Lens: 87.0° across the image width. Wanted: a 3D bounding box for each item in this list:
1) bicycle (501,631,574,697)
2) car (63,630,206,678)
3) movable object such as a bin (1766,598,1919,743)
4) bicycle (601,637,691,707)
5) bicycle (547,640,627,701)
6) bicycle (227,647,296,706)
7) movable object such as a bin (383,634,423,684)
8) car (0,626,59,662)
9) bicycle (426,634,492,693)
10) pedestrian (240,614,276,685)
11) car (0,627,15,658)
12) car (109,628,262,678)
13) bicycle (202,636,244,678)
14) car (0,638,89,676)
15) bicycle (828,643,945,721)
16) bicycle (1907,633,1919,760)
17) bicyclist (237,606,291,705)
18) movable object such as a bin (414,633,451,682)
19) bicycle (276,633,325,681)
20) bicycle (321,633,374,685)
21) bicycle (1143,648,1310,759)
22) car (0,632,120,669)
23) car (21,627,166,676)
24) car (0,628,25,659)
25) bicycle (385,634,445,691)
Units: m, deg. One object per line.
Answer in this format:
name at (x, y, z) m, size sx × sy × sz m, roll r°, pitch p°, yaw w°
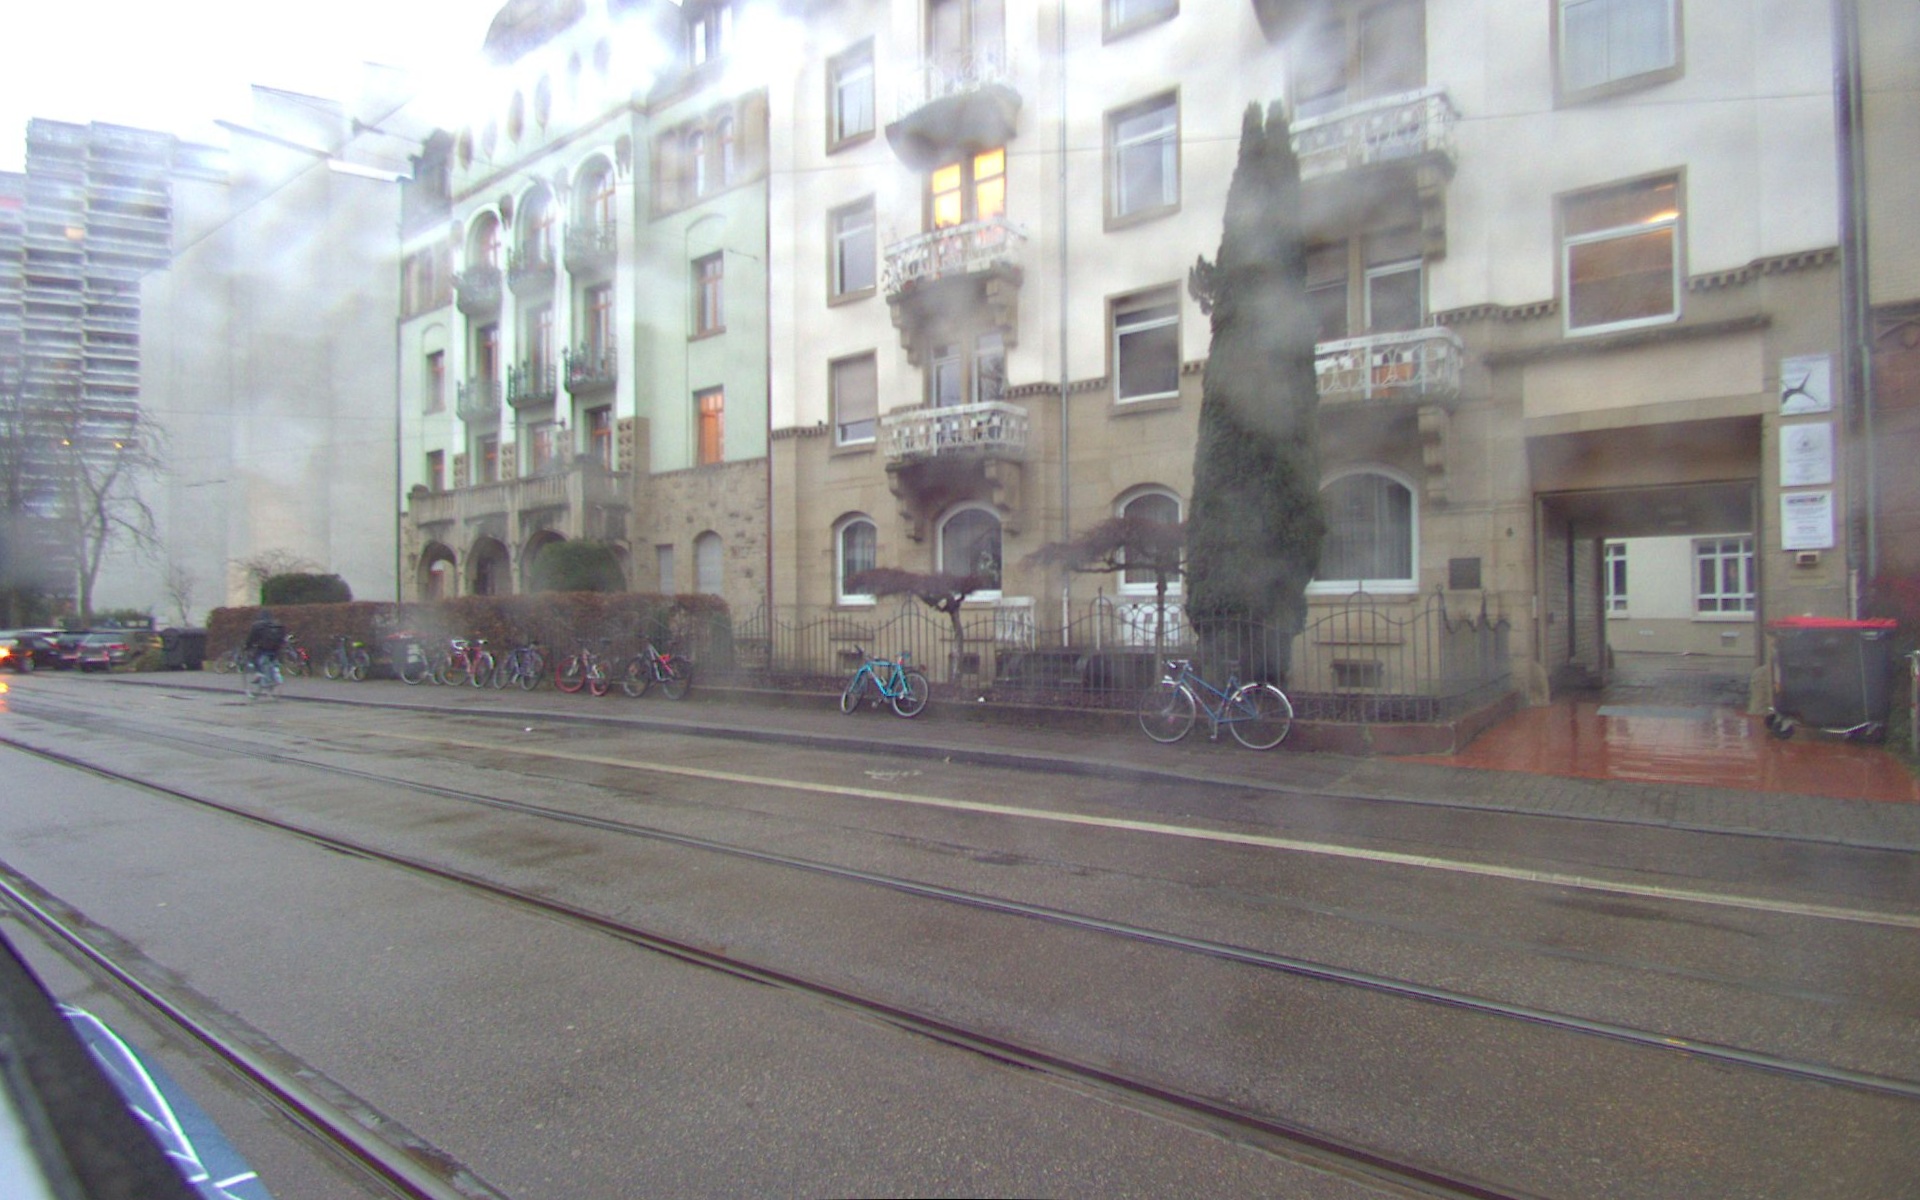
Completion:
bicycle at (-8.275, 1.234, 19.792) m, size 1.661 × 1.221 × 0.617 m, roll -2°, pitch -2°, yaw 40°
car at (-28.642, 1.829, 35.291) m, size 1.740 × 1.497 × 3.999 m, roll -1°, pitch -1°, yaw 0°
movable object such as a bin at (9.374, 0.707, 10.797) m, size 1.166 × 1.390 × 1.092 m, roll -2°, pitch 1°, yaw 39°
bicycle at (-5.440, 1.221, 17.483) m, size 1.781 × 1.134 × 0.617 m, roll -2°, pitch -2°, yaw 40°
bicycle at (-6.905, 1.278, 18.707) m, size 1.725 × 1.073 × 0.617 m, roll -2°, pitch -2°, yaw 40°
bicycle at (-13.818, 1.486, 20.001) m, size 1.946 × 1.101 × 0.617 m, roll -2°, pitch -2°, yaw 40°
movable object such as a bin at (-13.537, 1.422, 24.606) m, size 0.674 × 1.173 × 0.651 m, roll -2°, pitch -2°, yaw 40°
car at (-44.760, 2.063, 47.232) m, size 1.843 × 1.608 × 3.999 m, roll -1°, pitch -1°, yaw 0°
bicycle at (-10.545, 1.317, 21.287) m, size 1.661 × 1.173 × 0.617 m, roll -2°, pitch -2°, yaw 40°
pedestrian at (-17.666, 1.239, 25.466) m, size 0.644 × 1.738 × 0.567 m, roll 0°, pitch 1°, yaw 41°
car at (-52.338, 2.273, 53.086) m, size 1.843 × 1.608 × 3.999 m, roll -1°, pitch -1°, yaw 0°
car at (-26.120, 1.751, 34.327) m, size 1.847 × 1.505 × 3.989 m, roll -1°, pitch -1°, yaw 8°
bicycle at (-21.464, 1.656, 29.464) m, size 1.661 × 1.173 × 0.617 m, roll -2°, pitch -1°, yaw 40°
car at (-33.210, 1.989, 35.770) m, size 1.687 × 1.262 × 3.666 m, roll 0°, pitch -2°, yaw -1°
bicycle at (-1.039, 1.116, 14.114) m, size 1.661 × 1.010 × 0.617 m, roll -2°, pitch -2°, yaw 40°
bicycle at (8.684, 0.897, 8.616) m, size 0.694 × 1.114 × 2.326 m, roll -2°, pitch 1°, yaw 38°
bicyclist at (-13.675, 1.082, 19.887) m, size 0.990 × 1.891 × 0.617 m, roll -2°, pitch -2°, yaw 40°
movable object such as a bin at (-13.107, 1.423, 25.137) m, size 0.674 × 1.173 × 0.617 m, roll -2°, pitch -2°, yaw 40°
bicycle at (-17.239, 1.473, 26.433) m, size 1.661 × 1.221 × 0.617 m, roll -2°, pitch -2°, yaw 40°
bicycle at (-15.132, 1.433, 24.978) m, size 1.661 × 1.221 × 0.617 m, roll -2°, pitch -2°, yaw 40°
bicycle at (2.896, 1.094, 11.087) m, size 1.661 × 1.101 × 0.617 m, roll -2°, pitch -2°, yaw 40°
car at (-39.262, 2.168, 44.231) m, size 1.843 × 1.460 × 3.999 m, roll -1°, pitch -1°, yaw 0°
car at (-31.277, 1.833, 36.705) m, size 1.843 × 1.608 × 3.999 m, roll -1°, pitch -1°, yaw 0°
car at (-49.984, 2.229, 51.117) m, size 1.843 × 1.608 × 3.999 m, roll -1°, pitch -1°, yaw 0°
bicycle at (-12.201, 1.371, 22.648) m, size 1.661 × 1.221 × 0.617 m, roll -2°, pitch -2°, yaw 40°
